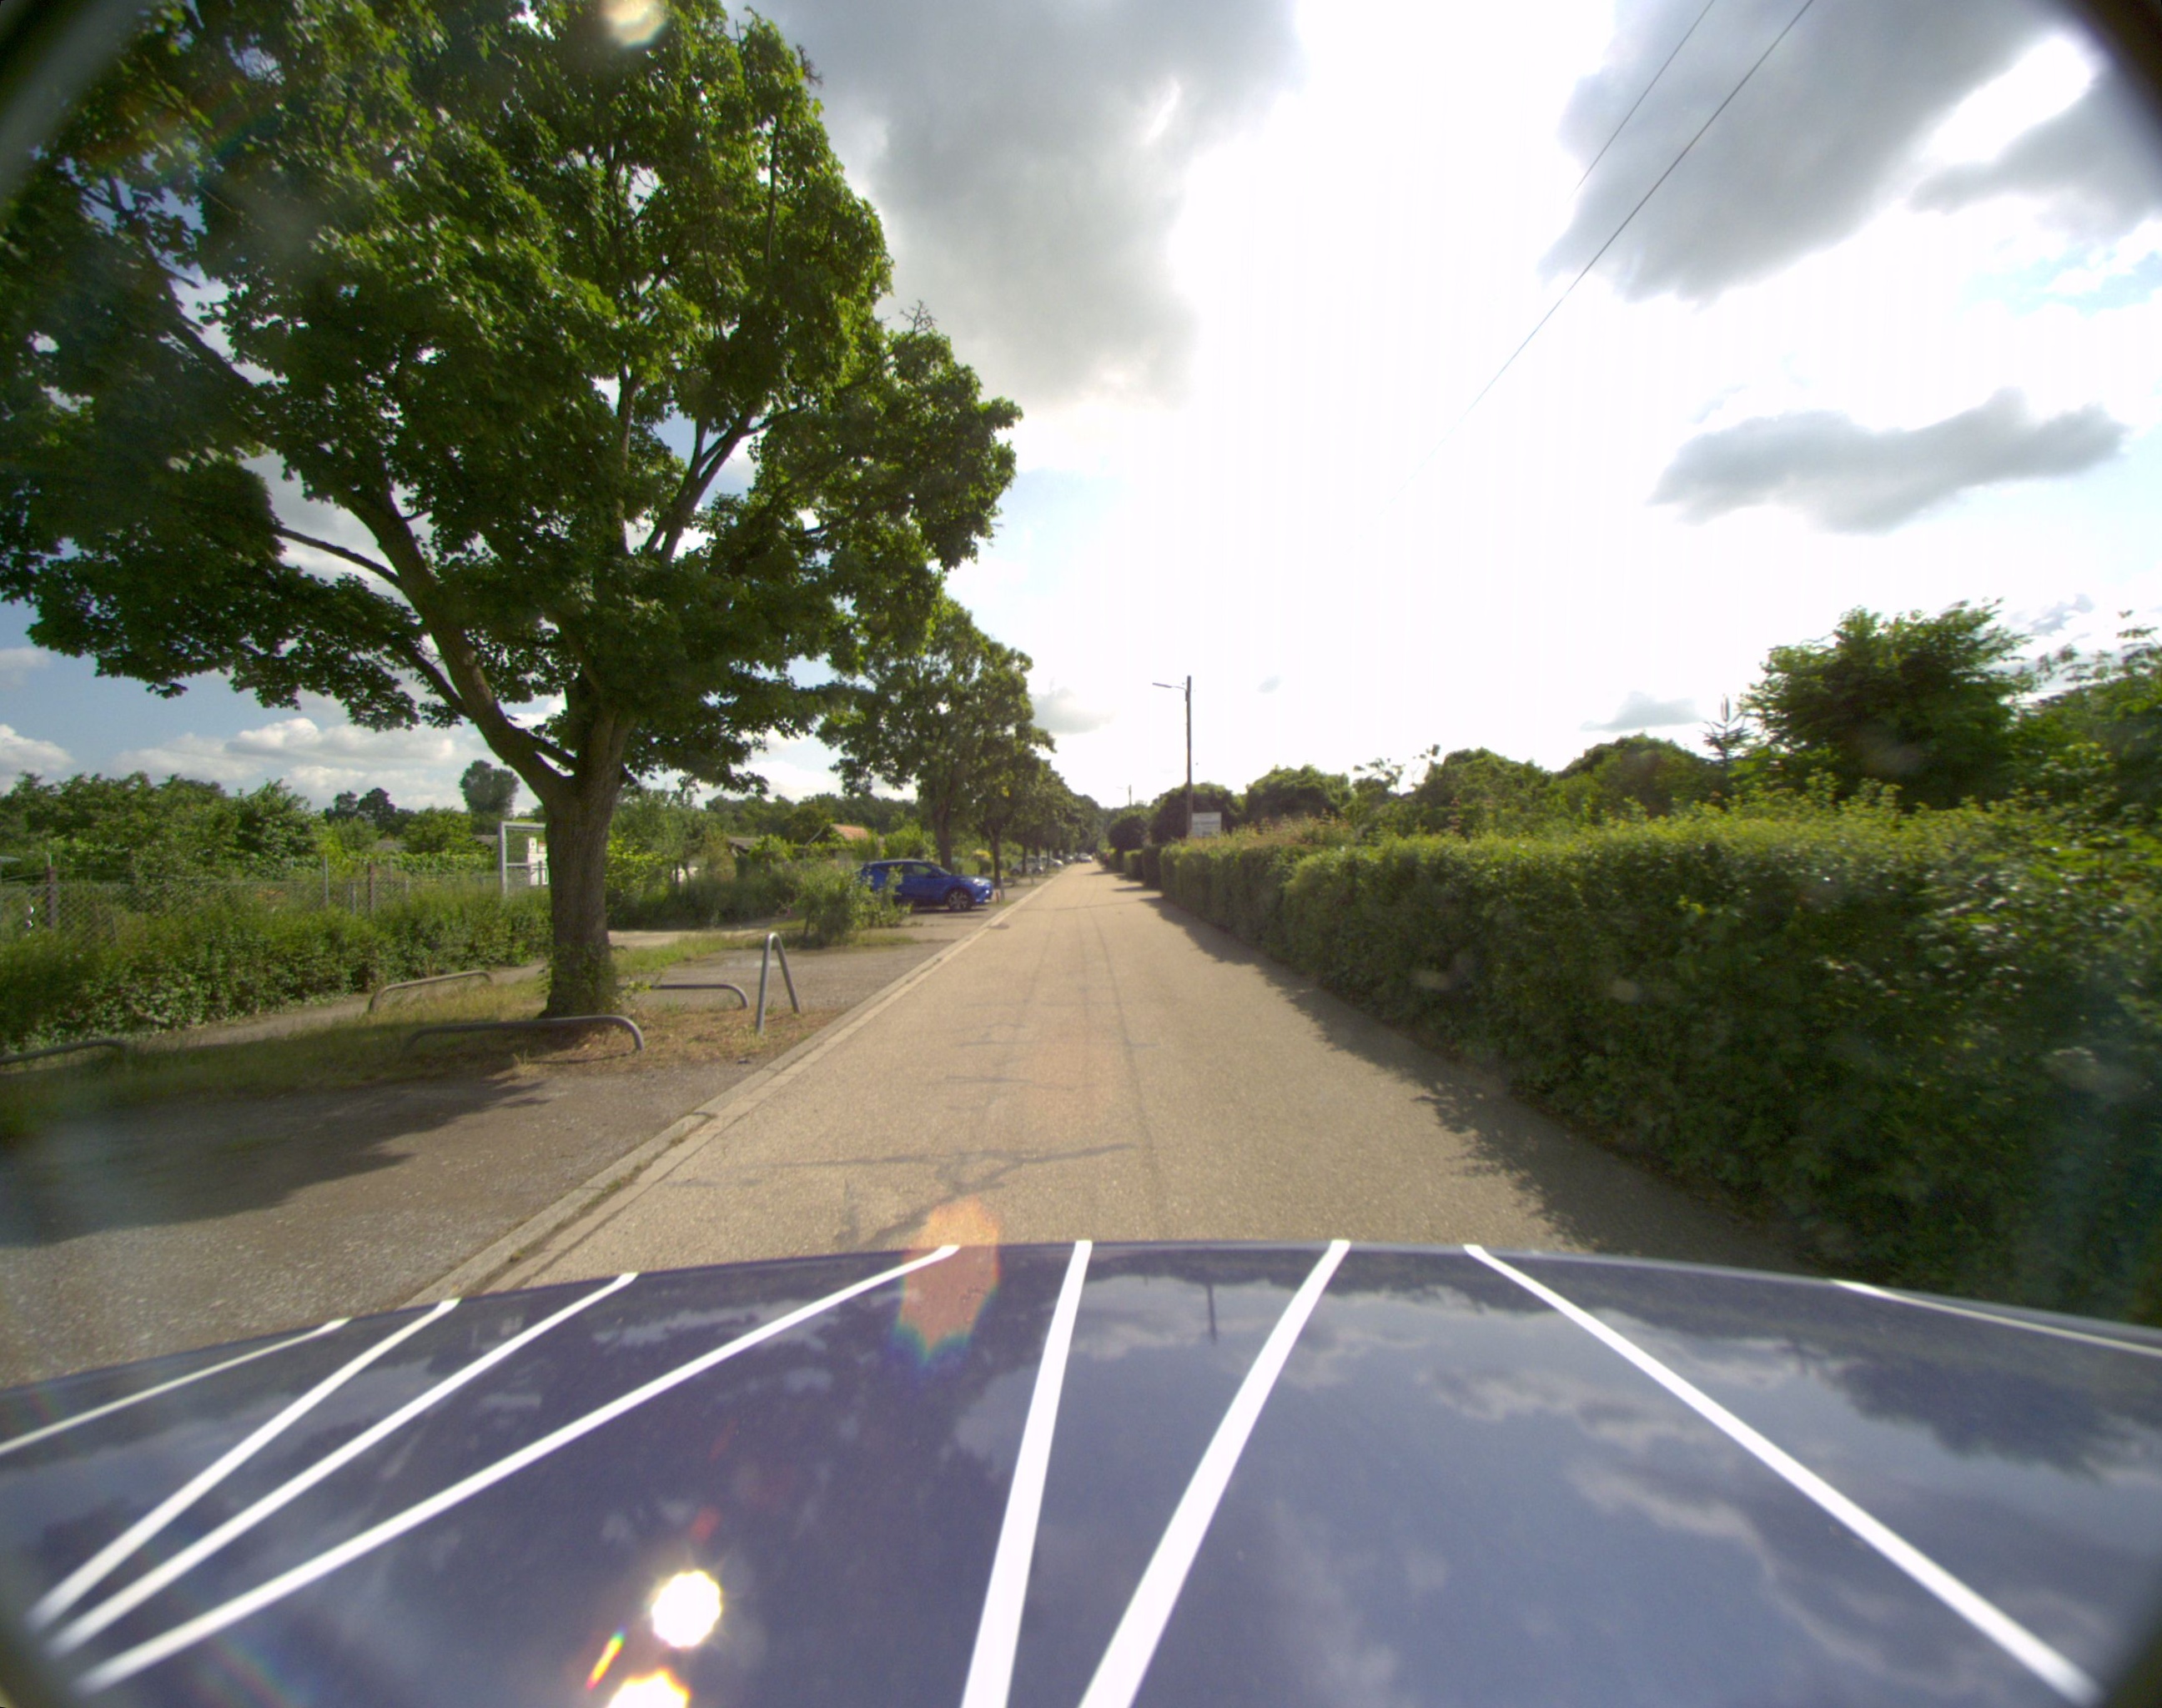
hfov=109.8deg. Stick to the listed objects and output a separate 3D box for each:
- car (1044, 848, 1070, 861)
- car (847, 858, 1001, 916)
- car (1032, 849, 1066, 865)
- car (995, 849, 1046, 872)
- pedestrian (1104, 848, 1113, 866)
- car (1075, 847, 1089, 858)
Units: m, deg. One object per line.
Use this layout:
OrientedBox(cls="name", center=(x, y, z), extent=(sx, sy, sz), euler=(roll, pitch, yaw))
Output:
OrientedBox(cls="car", center=(-3.774, 0.029, 119.365), extent=(3.998, 1.824, 1.999), euler=(-2, 1, -3))
OrientedBox(cls="car", center=(-4.510, 0.932, 22.277), extent=(4.116, 1.573, 1.780), euler=(-1, 1, -1))
OrientedBox(cls="car", center=(-3.783, 0.351, 90.855), extent=(3.929, 1.740, 2.000), euler=(-2, 1, 0))
OrientedBox(cls="car", center=(-4.960, 0.528, 62.253), extent=(3.929, 1.740, 2.000), euler=(-2, 1, 0))
OrientedBox(cls="pedestrian", center=(2.587, 0.270, 71.877), extent=(0.701, 1.701, 0.788), euler=(-2, 1, 0))
OrientedBox(cls="car", center=(0.186, -0.266, 120.699), extent=(1.998, 1.740, 3.932), euler=(-2, 1, 2))
